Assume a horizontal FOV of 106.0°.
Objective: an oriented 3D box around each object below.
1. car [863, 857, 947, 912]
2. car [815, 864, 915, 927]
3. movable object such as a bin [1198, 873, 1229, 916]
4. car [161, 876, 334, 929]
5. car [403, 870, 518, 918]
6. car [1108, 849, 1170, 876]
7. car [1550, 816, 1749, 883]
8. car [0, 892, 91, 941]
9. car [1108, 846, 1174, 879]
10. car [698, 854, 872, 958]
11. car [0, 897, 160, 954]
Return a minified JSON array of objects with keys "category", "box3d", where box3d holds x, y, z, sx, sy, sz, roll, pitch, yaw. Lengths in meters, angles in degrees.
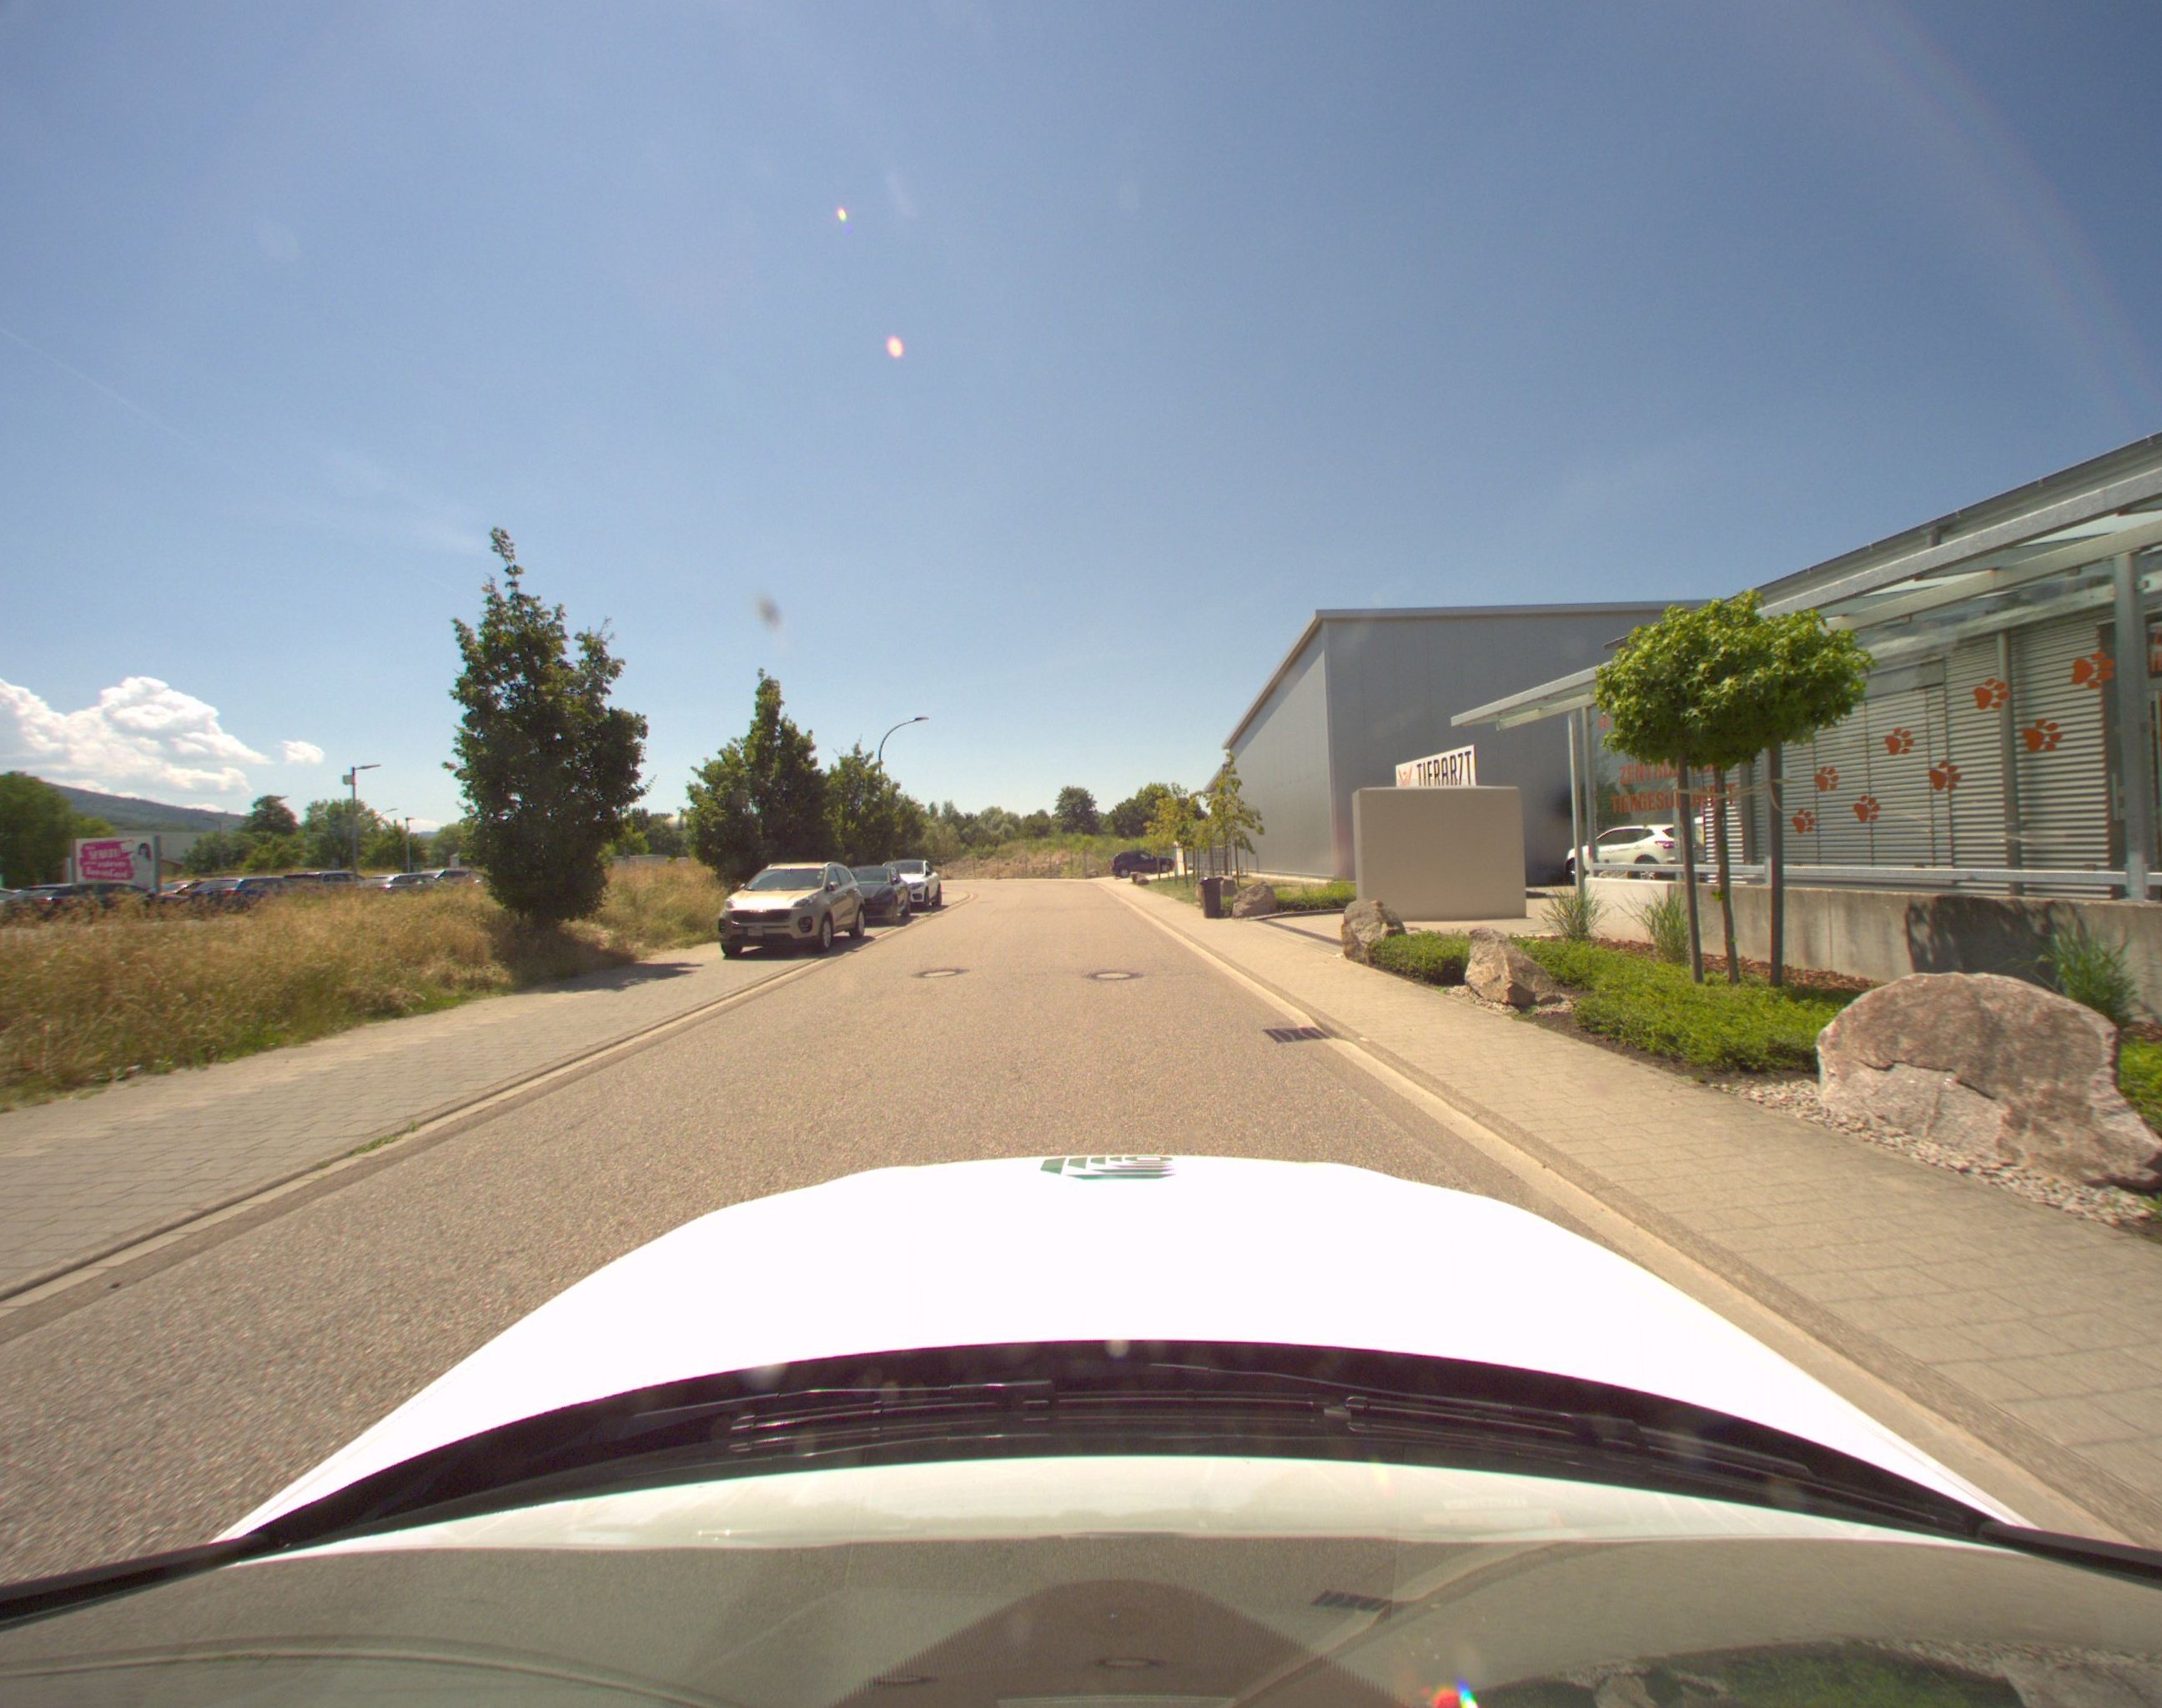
[{"category":"car","box3d":[-5.995,0.973,28.307,1.907,1.655,4.751,-3,0,-2]},{"category":"car","box3d":[-5.909,1.074,22.817,1.909,1.491,4.406,-1,0,-5]},{"category":"movable object such as a bin","box3d":[3.060,0.931,18.826,0.557,0.946,0.539,-3,0,-3]},{"category":"car","box3d":[-28.720,1.619,28.275,1.990,1.544,3.995,-2,0,-4]},{"category":"car","box3d":[-26.849,1.669,35.424,1.990,1.777,3.994,-3,0,-4]},{"category":"car","box3d":[3.957,0.556,56.020,4.001,1.462,1.891,-5,0,-3]},{"category":"car","box3d":[14.998,-0.070,21.834,1.991,1.542,4.342,-2,-1,-6]},{"category":"car","box3d":[-37.932,2.223,28.317,1.985,1.544,4.004,-2,0,3]},{"category":"car","box3d":[3.924,0.527,53.633,4.001,1.655,1.856,-7,0,-3]},{"category":"car","box3d":[-5.585,0.883,16.026,1.907,1.713,4.409,-1,0,-2]},{"category":"car","box3d":[-34.503,2.379,27.655,1.990,1.544,3.994,-2,0,-4]}]
